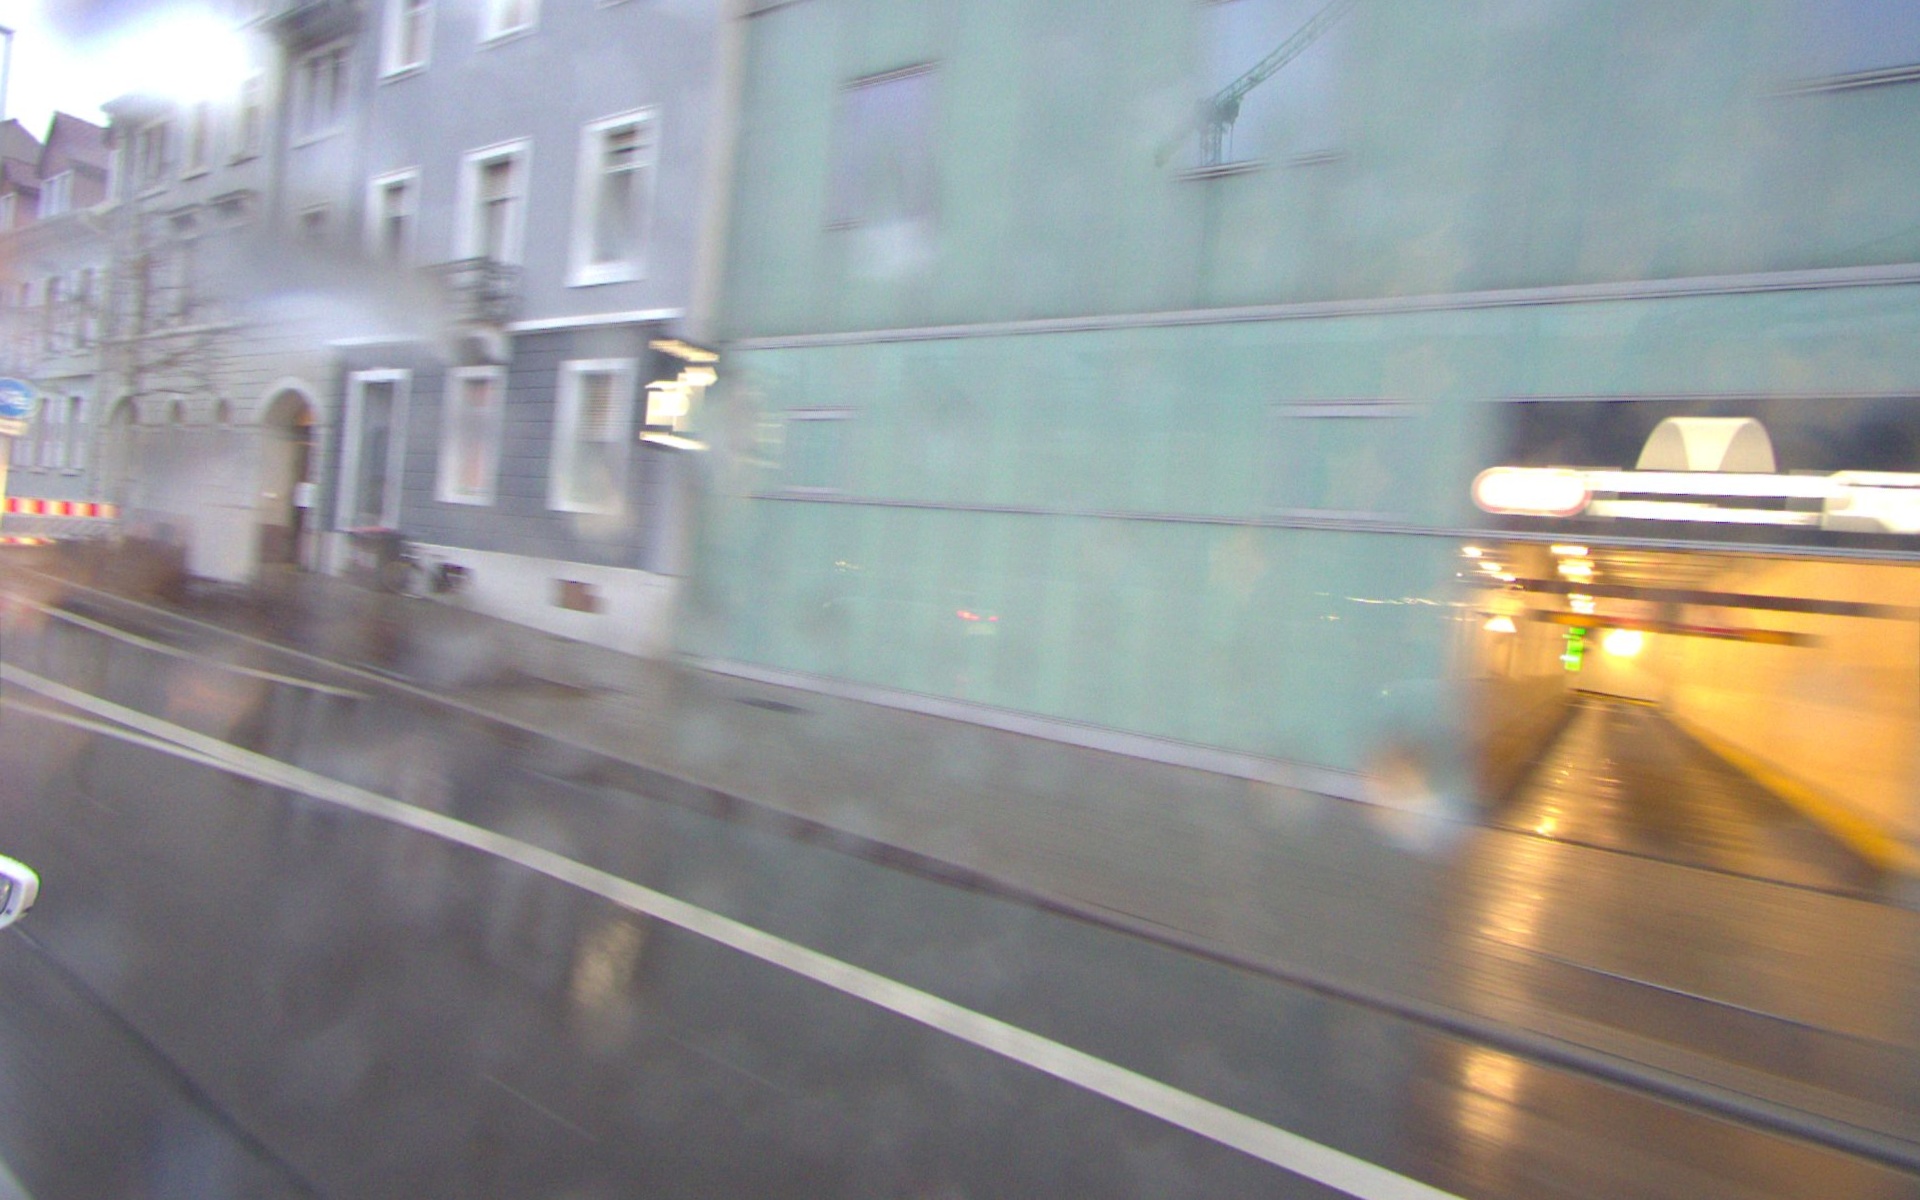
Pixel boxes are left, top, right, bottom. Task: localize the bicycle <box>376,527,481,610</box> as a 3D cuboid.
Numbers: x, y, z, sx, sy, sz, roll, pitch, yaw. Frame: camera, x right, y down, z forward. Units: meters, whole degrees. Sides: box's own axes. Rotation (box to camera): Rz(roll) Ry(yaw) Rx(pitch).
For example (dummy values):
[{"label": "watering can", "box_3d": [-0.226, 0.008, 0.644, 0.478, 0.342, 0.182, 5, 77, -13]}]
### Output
[{"label": "bicycle", "box_3d": [-9.014, -0.545, 17.023, 1.874, 1.239, 0.682, 6, 3, 32]}]
